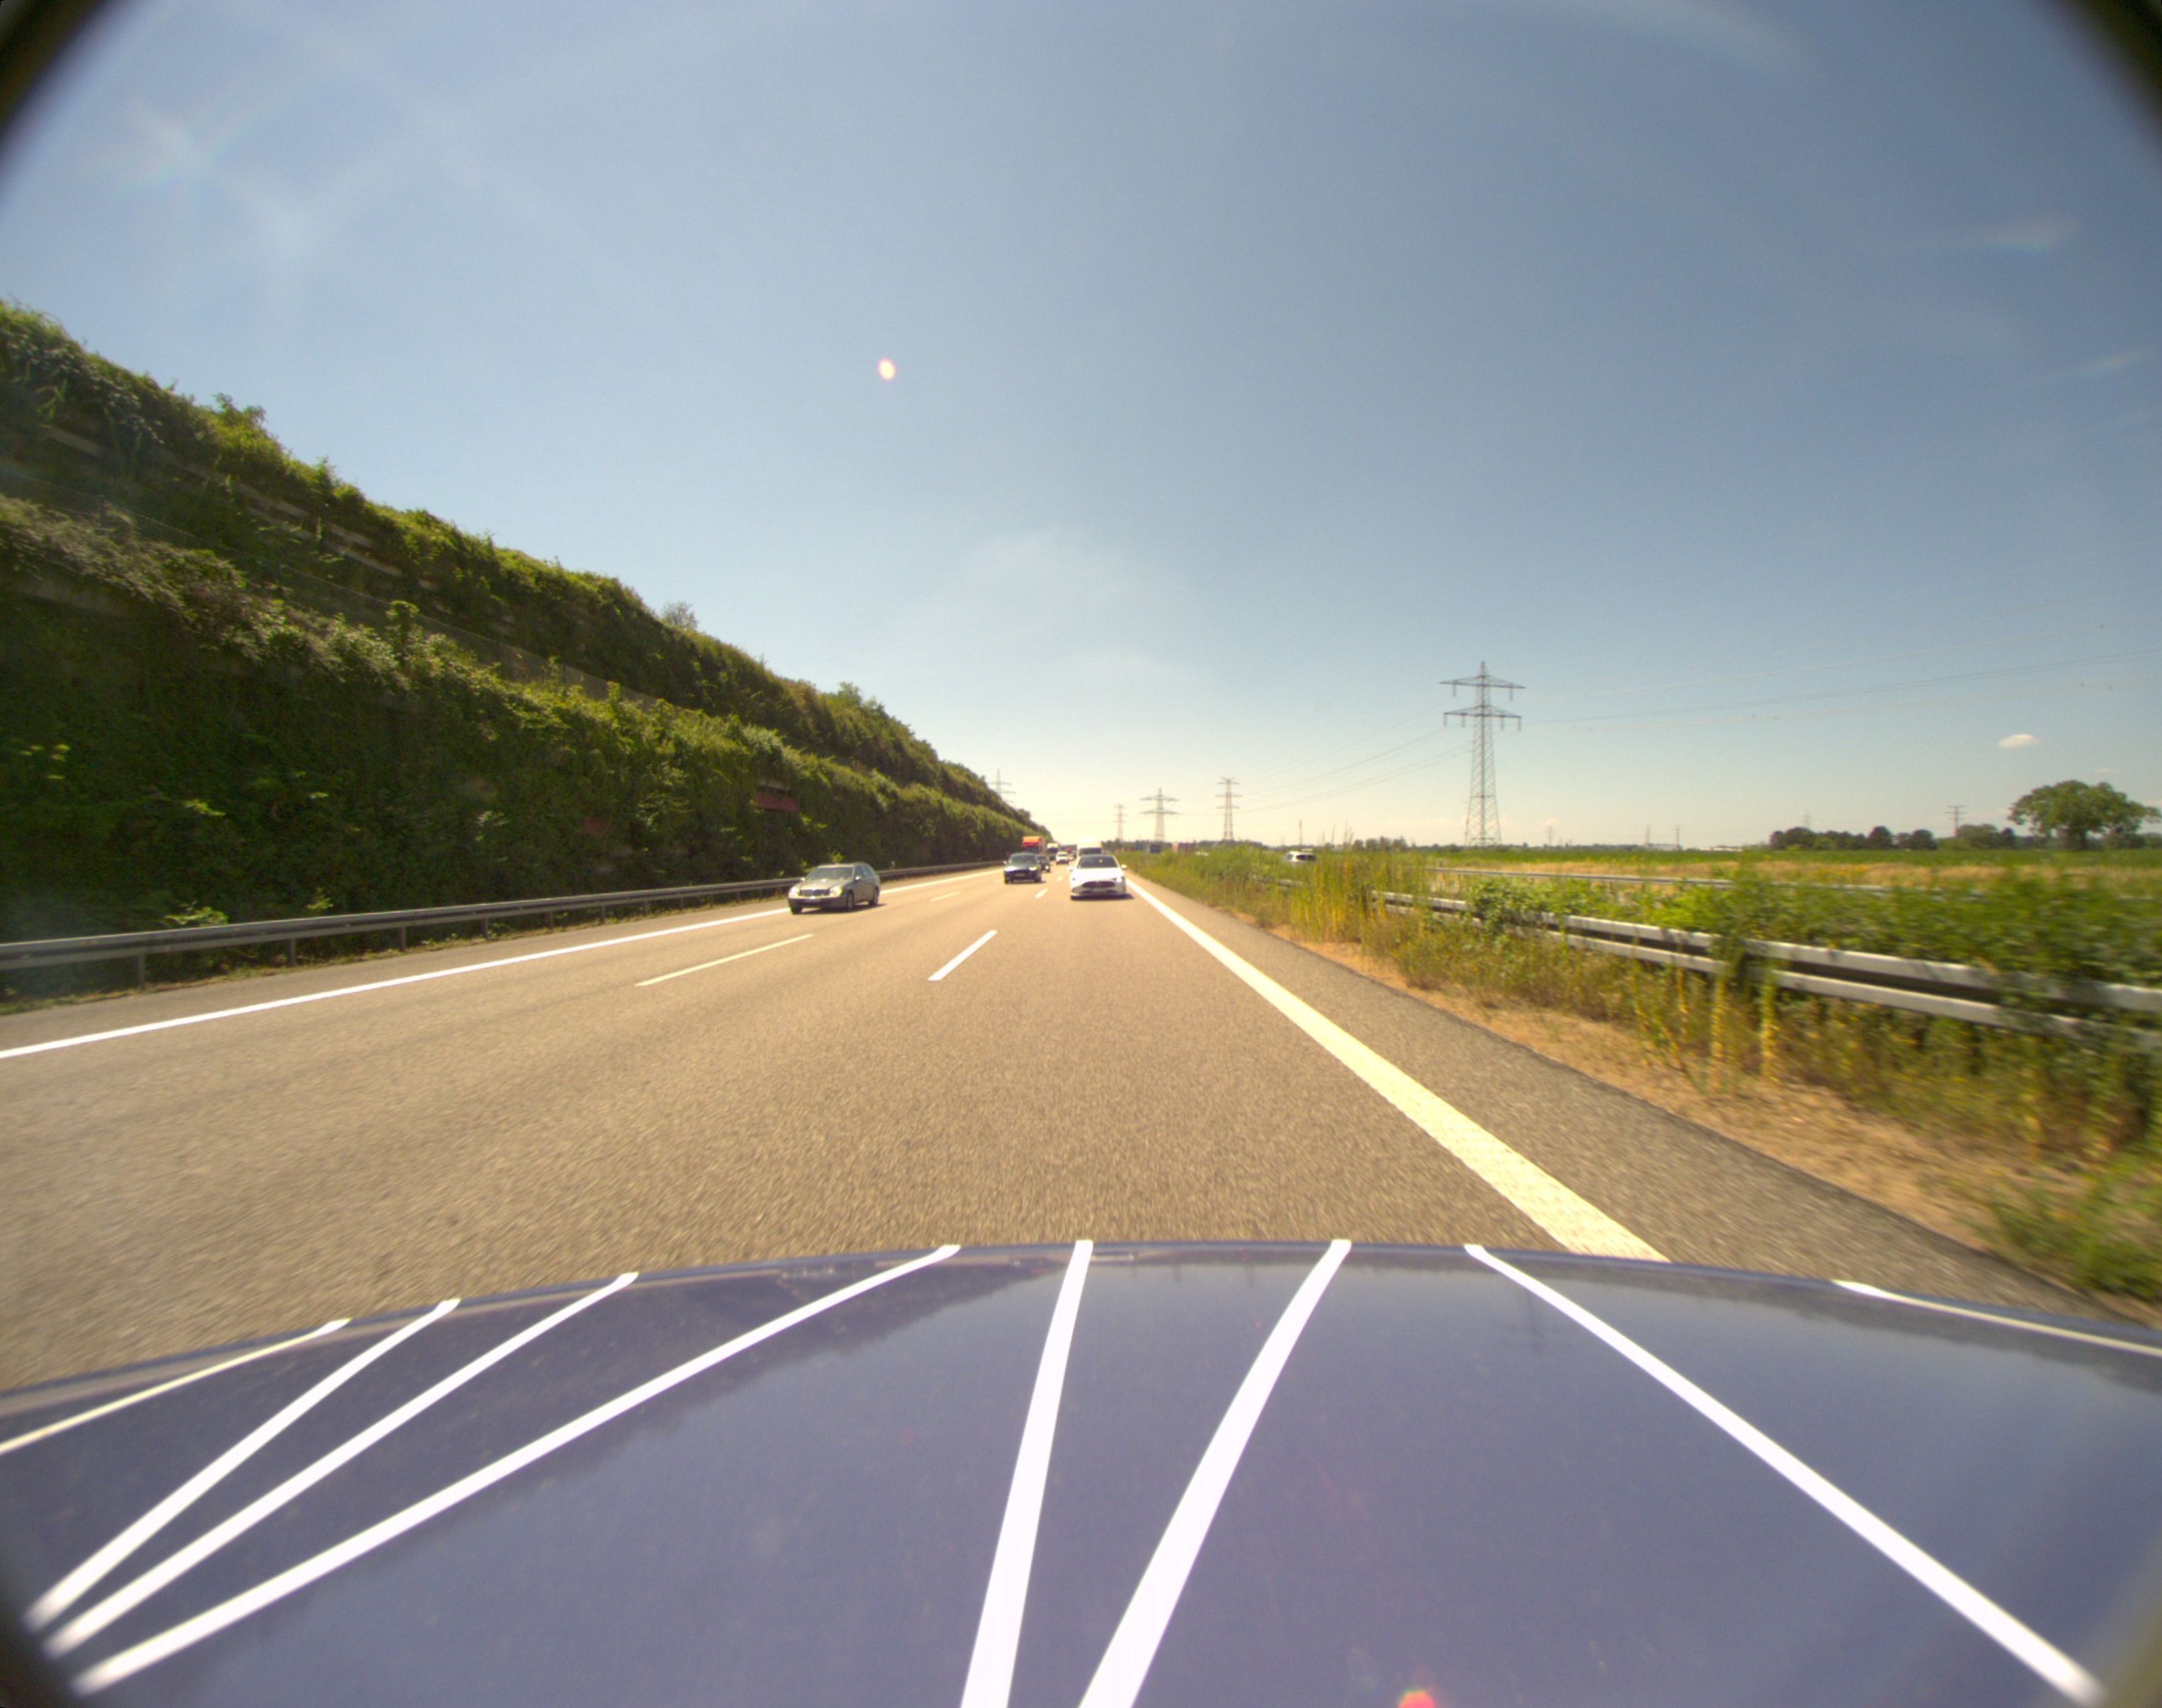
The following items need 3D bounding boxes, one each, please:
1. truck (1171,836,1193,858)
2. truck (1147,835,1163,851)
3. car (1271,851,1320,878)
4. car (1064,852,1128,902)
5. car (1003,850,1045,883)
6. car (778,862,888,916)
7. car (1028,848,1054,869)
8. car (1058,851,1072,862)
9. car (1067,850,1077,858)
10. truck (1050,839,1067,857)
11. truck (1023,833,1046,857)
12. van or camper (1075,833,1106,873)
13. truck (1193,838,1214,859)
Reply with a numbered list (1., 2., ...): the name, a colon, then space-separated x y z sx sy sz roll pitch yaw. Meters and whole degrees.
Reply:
1. truck: 19.484 -1.327 147.178 3.214 4.060 9.648 0 1 2
2. truck: 19.960 -3.017 205.552 3.507 4.060 9.646 0 1 0
3. car: 13.792 0.634 49.092 1.866 1.644 4.558 -1 0 1
4. car: 0.494 0.725 26.395 1.984 1.525 4.558 -1 0 1
5. car: -3.137 0.657 42.748 1.984 1.671 4.558 -1 0 1
6. car: -7.576 1.018 23.700 1.840 1.403 4.558 -2 0 1
7. car: -3.417 0.379 65.722 1.984 1.671 4.558 -1 0 1
8. car: -2.297 0.284 110.336 1.984 1.525 4.137 -1 0 1
9. car: -1.762 -0.057 151.487 1.984 1.525 4.137 -1 0 1
10. truck: -5.107 -1.331 172.442 3.507 3.891 9.646 0 1 0
11. truck: -6.473 -1.220 106.486 2.581 3.204 5.712 -2 1 0
12. van or camper: 0.752 -0.114 55.592 1.998 2.741 5.410 -2 1 3
13. truck: 24.669 -1.222 153.349 3.214 4.060 9.648 0 1 2
